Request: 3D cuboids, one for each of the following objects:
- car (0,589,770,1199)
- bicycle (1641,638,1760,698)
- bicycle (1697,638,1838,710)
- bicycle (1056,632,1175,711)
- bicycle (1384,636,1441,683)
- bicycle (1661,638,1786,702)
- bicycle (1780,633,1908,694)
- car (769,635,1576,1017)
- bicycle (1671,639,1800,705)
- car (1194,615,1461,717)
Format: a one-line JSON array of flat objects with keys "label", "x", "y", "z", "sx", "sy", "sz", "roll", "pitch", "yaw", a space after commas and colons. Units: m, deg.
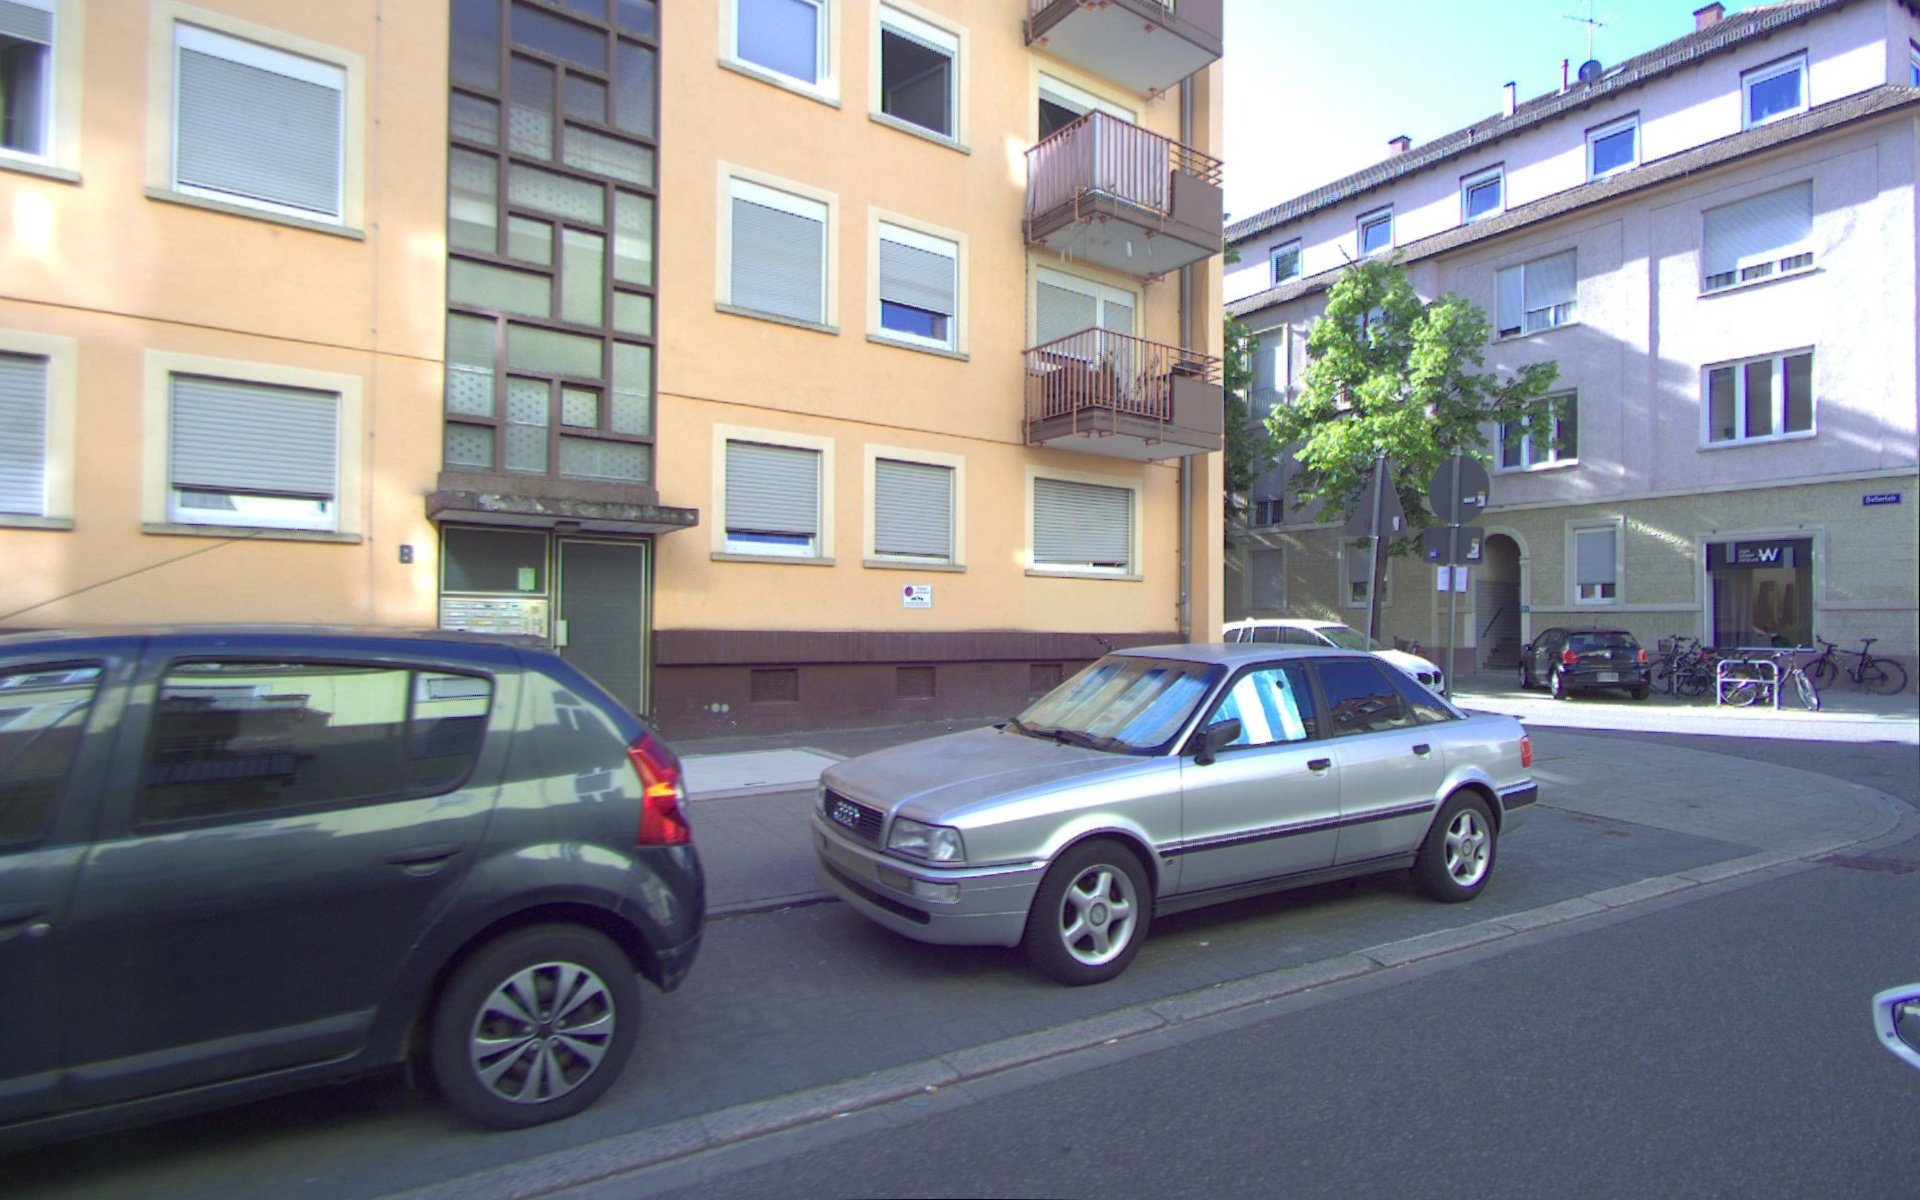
[{"label": "car", "x": -2.765, "y": 0.762, "z": 3.077, "sx": 3.955, "sy": 1.522, "sz": 1.754, "roll": 1, "pitch": -2, "yaw": -32}, {"label": "bicycle", "x": 15.163, "y": 1.365, "z": 20.624, "sx": 0.520, "sy": 1.150, "sz": 1.888, "roll": -1, "pitch": -1, "yaw": -32}, {"label": "bicycle", "x": 14.482, "y": 1.303, "z": 18.072, "sx": 0.640, "sy": 1.150, "sz": 1.890, "roll": -1, "pitch": 0, "yaw": -28}, {"label": "bicycle", "x": 2.301, "y": 1.014, "z": 14.707, "sx": 1.873, "sy": 1.078, "sz": 0.500, "roll": 1, "pitch": 1, "yaw": -35}, {"label": "bicycle", "x": 11.396, "y": 1.483, "z": 25.298, "sx": 1.876, "sy": 1.078, "sz": 0.499, "roll": -1, "pitch": 2, "yaw": -39}, {"label": "bicycle", "x": 14.967, "y": 1.347, "z": 19.745, "sx": 0.520, "sy": 1.150, "sz": 1.888, "roll": -1, "pitch": -1, "yaw": -32}, {"label": "bicycle", "x": 18.137, "y": 1.276, "z": 20.642, "sx": 0.642, "sy": 1.150, "sz": 1.885, "roll": -1, "pitch": 0, "yaw": -36}, {"label": "car", "x": 1.336, "y": 0.914, "z": 5.655, "sx": 4.425, "sy": 1.396, "sz": 1.754, "roll": 1, "pitch": -1, "yaw": -30}, {"label": "bicycle", "x": 14.733, "y": 1.333, "z": 19.149, "sx": 0.519, "sy": 1.150, "sz": 1.890, "roll": -1, "pitch": -1, "yaw": -28}, {"label": "car", "x": 6.581, "y": 1.111, "z": 18.436, "sx": 1.711, "sy": 1.614, "sz": 4.402, "roll": -1, "pitch": -1, "yaw": -37}]
